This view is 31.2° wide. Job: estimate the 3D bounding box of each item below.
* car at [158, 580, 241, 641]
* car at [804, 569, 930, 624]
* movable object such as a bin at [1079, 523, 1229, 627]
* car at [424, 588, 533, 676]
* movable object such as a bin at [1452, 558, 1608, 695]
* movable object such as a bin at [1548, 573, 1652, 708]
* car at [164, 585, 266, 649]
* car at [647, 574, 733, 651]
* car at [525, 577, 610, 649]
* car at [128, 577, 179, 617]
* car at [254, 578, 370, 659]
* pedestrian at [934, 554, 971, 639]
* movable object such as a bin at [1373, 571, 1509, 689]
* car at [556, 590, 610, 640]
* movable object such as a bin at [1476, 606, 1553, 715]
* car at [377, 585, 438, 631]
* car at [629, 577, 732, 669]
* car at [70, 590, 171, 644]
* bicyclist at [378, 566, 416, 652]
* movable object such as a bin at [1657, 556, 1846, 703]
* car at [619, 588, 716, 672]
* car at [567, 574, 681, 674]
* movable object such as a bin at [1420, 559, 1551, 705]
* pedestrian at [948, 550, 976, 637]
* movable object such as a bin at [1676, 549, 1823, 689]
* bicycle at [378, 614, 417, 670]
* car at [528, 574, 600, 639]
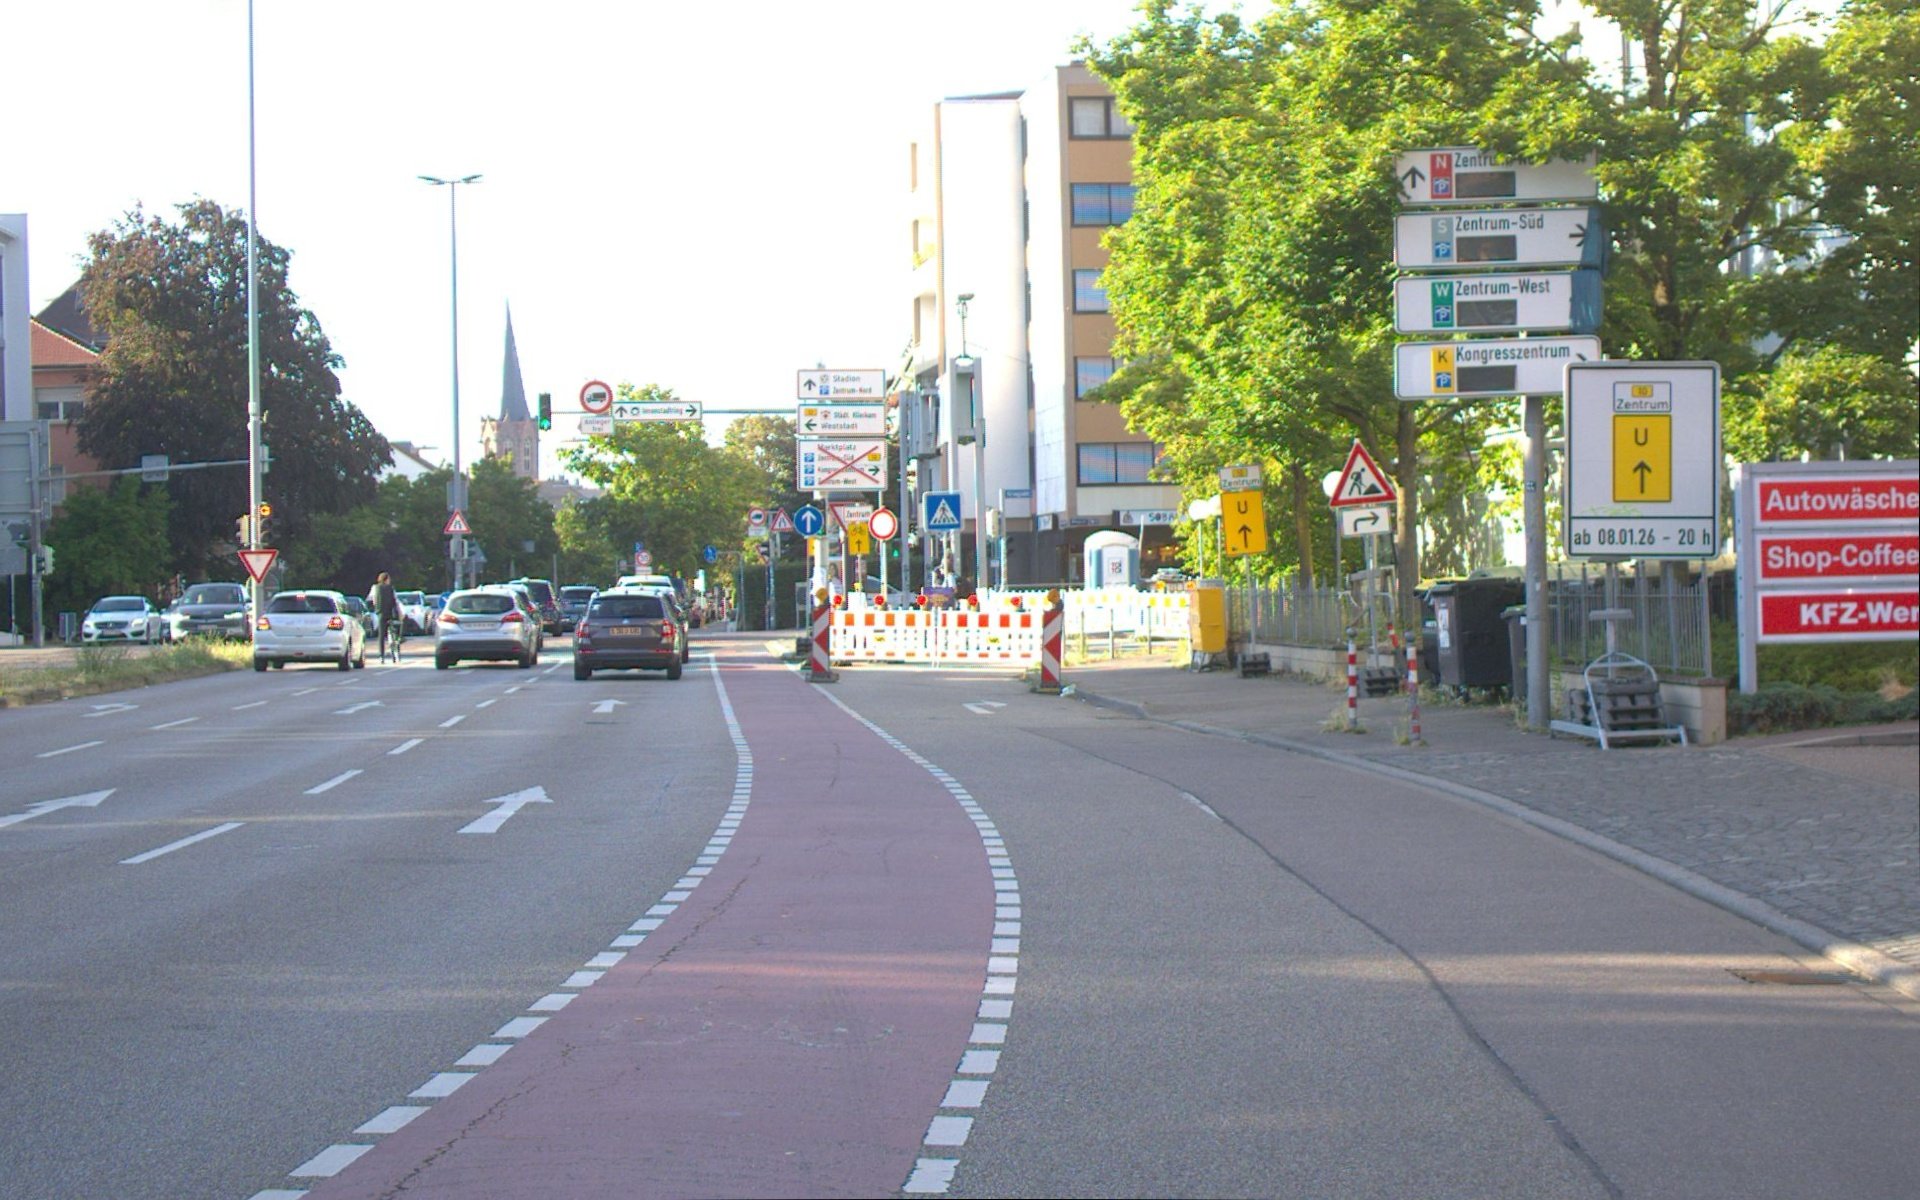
[{"bbox_3d":[-24.558,0.364,111.111,1.841,1.810,4.000,-3,-1,-2],"label":"car"},{"bbox_3d":[-3.349,-0.144,123.178,4.363,1.871,2.000,-1,0,-6],"label":"car"},{"bbox_3d":[4.588,-0.594,81.641,3.327,2.375,1.529,-1,0,-5],"label":"movable object such as a bin"},{"bbox_3d":[-9.105,0.577,65.203,1.748,1.559,4.050,-1,0,-4],"label":"car"},{"bbox_3d":[6.401,0.289,38.655,1.326,1.480,1.211,-1,0,-14],"label":"movable object such as a bin"},{"bbox_3d":[6.341,0.395,34.085,0.777,1.304,0.865,-1,0,-6],"label":"movable object such as a bin"},{"bbox_3d":[-19.239,0.418,88.949,1.993,1.573,4.900,-1,0,-5],"label":"car"},{"bbox_3d":[-6.120,0.266,77.513,1.819,1.634,4.001,-1,0,-6],"label":"car"},{"bbox_3d":[-8.912,0.271,78.288,1.748,1.559,4.050,-1,0,-4],"label":"car"},{"bbox_3d":[-32.503,-0.108,138.600,1.840,1.566,4.001,-1,0,-12],"label":"car"},{"bbox_3d":[-12.079,0.319,64.262,1.684,1.452,4.001,0,0,-5],"label":"car"},{"bbox_3d":[-0.161,-0.084,73.532,0.741,1.793,0.715,-1,0,-1],"label":"pedestrian"},{"bbox_3d":[5.666,0.348,40.541,1.213,1.339,1.055,-1,0,-20],"label":"movable object such as a bin"},{"bbox_3d":[-12.940,0.509,118.118,1.664,1.652,4.001,-1,0,-4],"label":"car"},{"bbox_3d":[5.471,0.592,33.935,0.619,1.042,0.616,-1,0,-2],"label":"movable object such as a bin"},{"bbox_3d":[-18.360,0.246,114.431,1.847,1.456,4.050,-1,0,-7],"label":"car"},{"bbox_3d":[-5.272,0.455,65.198,1.728,1.596,3.723,-3,-1,-2],"label":"car"},{"bbox_3d":[-23.757,0.469,97.459,1.993,1.408,4.444,-2,0,-4],"label":"car"},{"bbox_3d":[-11.384,0.177,69.500,0.690,1.722,0.988,-1,0,-8],"label":"bicyclist"},{"bbox_3d":[7.846,0.283,34.117,1.607,1.405,0.865,-1,0,-6],"label":"movable object such as a bin"},{"bbox_3d":[-5.849,0.580,69.079,1.728,1.573,3.723,-1,0,-2],"label":"car"},{"bbox_3d":[-5.528,0.370,56.879,1.748,1.559,4.050,-1,0,-4],"label":"car"},{"bbox_3d":[5.628,0.356,36.889,1.092,1.503,1.254,-1,-2,-4],"label":"movable object such as a bin"},{"bbox_3d":[0.041,-0.134,74.448,0.520,1.862,0.615,-1,0,-5],"label":"pedestrian"},{"bbox_3d":[8.449,0.191,36.853,1.195,1.416,1.279,-3,1,-2],"label":"movable object such as a bin"},{"bbox_3d":[-11.391,0.836,69.666,0.699,1.096,2.258,-1,0,-7],"label":"bicycle"},{"bbox_3d":[-10.472,0.153,91.082,1.664,1.652,4.001,-1,0,-4],"label":"car"}]
